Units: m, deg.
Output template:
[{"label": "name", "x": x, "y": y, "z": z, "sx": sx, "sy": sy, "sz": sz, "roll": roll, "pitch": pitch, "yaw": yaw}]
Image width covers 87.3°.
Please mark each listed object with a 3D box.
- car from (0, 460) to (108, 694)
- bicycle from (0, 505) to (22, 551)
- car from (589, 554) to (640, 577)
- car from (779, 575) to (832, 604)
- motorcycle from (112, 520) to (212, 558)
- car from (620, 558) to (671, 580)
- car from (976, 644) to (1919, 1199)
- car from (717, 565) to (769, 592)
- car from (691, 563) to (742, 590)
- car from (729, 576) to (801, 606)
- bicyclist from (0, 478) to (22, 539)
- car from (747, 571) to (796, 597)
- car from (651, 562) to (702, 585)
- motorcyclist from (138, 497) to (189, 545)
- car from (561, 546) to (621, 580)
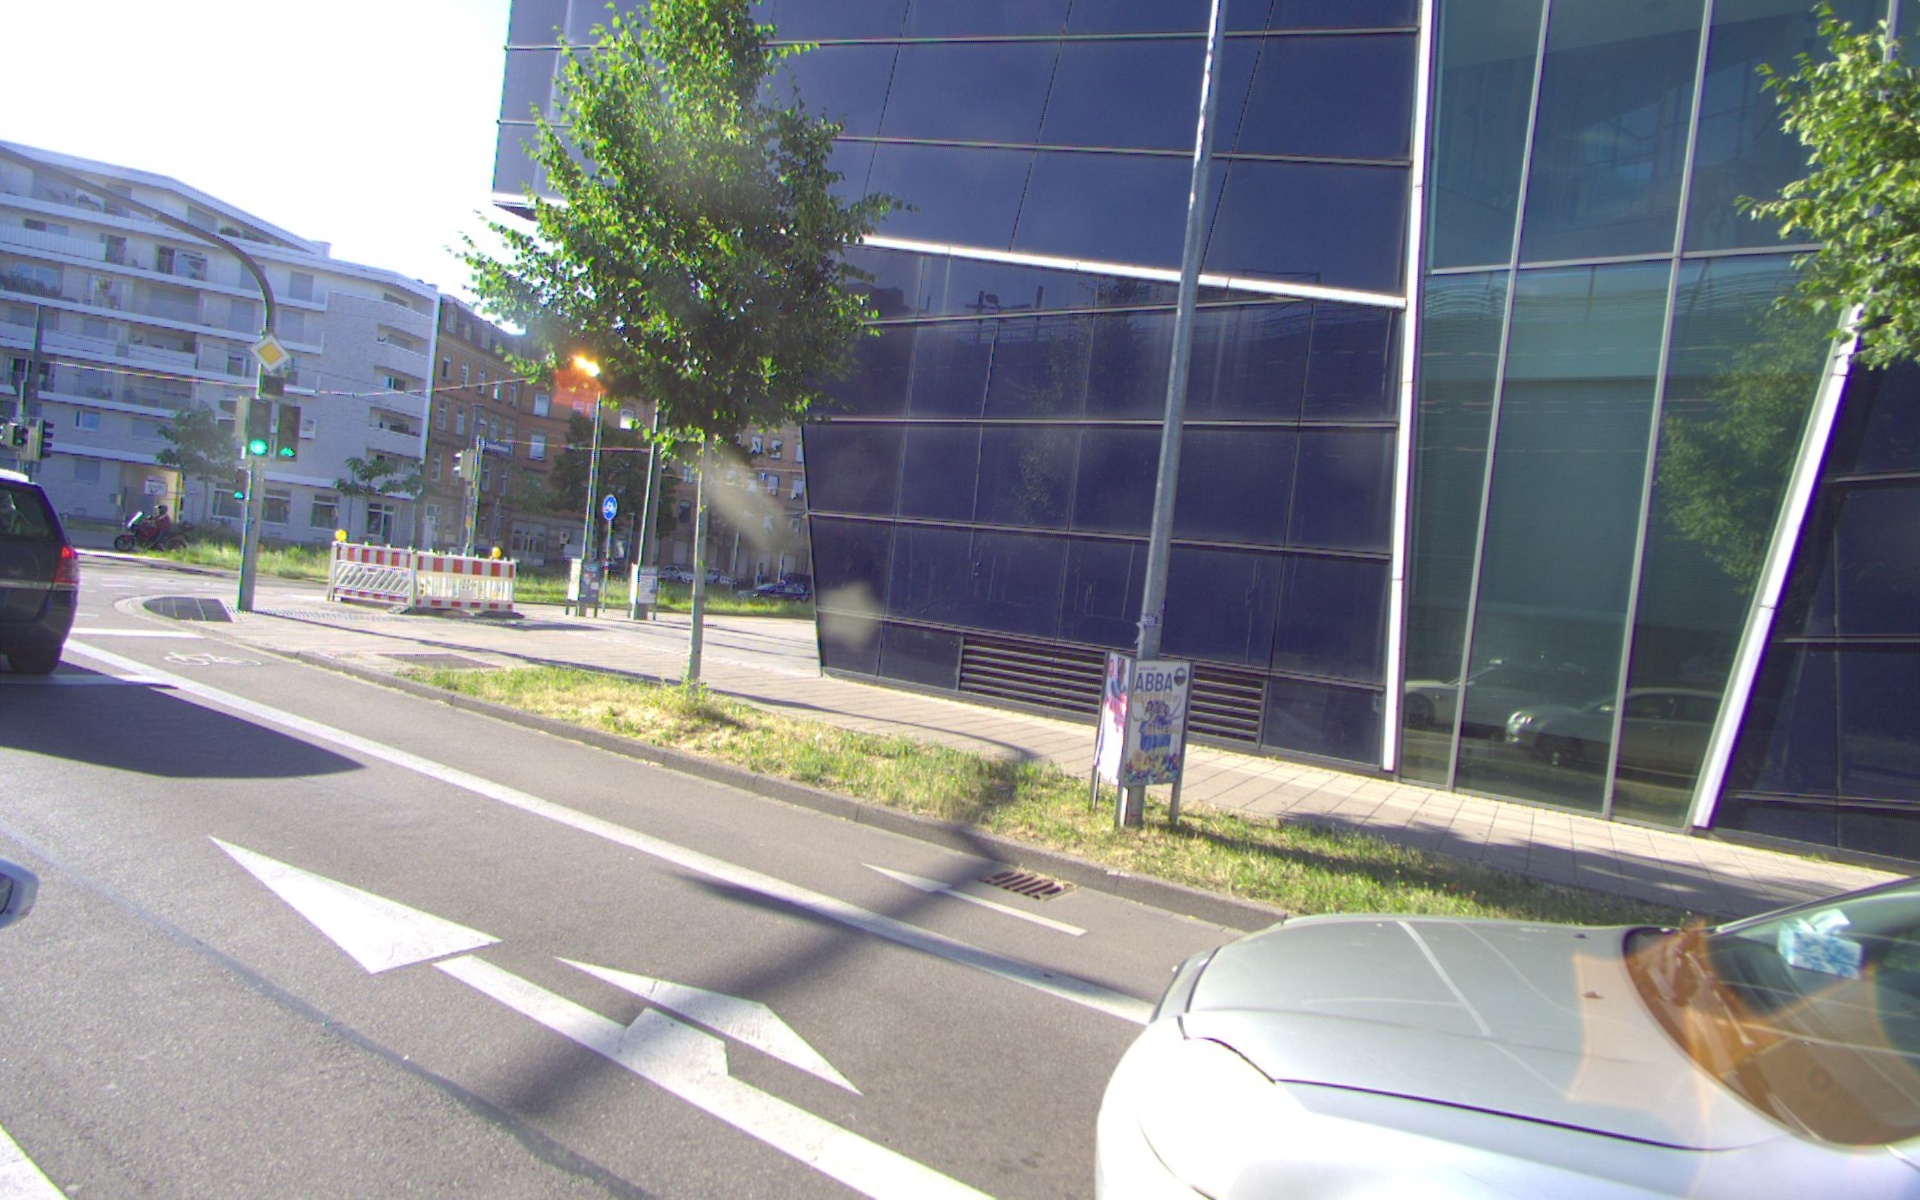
[{"label": "car", "x": -9.053, "y": -0.397, "z": 8.288, "sx": 4.190, "sy": 1.715, "sz": 1.749, "roll": 6, "pitch": -2, "yaw": 31}, {"label": "bicycle", "x": -28.743, "y": -2.205, "z": 29.496, "sx": 2.042, "sy": 1.278, "sz": 0.768, "roll": 7, "pitch": 1, "yaw": 14}, {"label": "car", "x": -26.643, "y": -2.676, "z": 77.502, "sx": 3.944, "sy": 1.371, "sz": 1.990, "roll": 6, "pitch": 1, "yaw": 41}, {"label": "car", "x": -14.357, "y": -0.987, "z": 93.483, "sx": 4.350, "sy": 2.218, "sz": 1.990, "roll": 5, "pitch": 1, "yaw": -22}, {"label": "motorcycle", "x": -28.020, "y": -2.125, "z": 35.390, "sx": 1.151, "sy": 1.013, "sz": 2.457, "roll": 7, "pitch": 0, "yaw": 27}, {"label": "car", "x": -24.691, "y": -2.436, "z": 78.933, "sx": 3.944, "sy": 1.371, "sz": 1.990, "roll": 6, "pitch": 1, "yaw": 41}, {"label": "car", "x": 2.425, "y": 1.095, "z": 1.329, "sx": 4.551, "sy": 1.500, "sz": 1.748, "roll": 6, "pitch": 0, "yaw": 31}, {"label": "car", "x": -18.002, "y": -1.774, "z": 83.497, "sx": 3.938, "sy": 1.794, "sz": 1.993, "roll": 6, "pitch": 1, "yaw": 35}, {"label": "car", "x": -19.749, "y": -1.945, "z": 81.554, "sx": 3.944, "sy": 1.794, "sz": 1.990, "roll": 6, "pitch": 1, "yaw": 41}, {"label": "car", "x": -11.293, "y": -0.484, "z": 58.586, "sx": 1.740, "sy": 1.417, "sz": 4.248, "roll": 3, "pitch": -2, "yaw": 29}, {"label": "bicyclist", "x": -28.249, "y": -2.716, "z": 29.384, "sx": 0.912, "sy": 1.728, "sz": 0.768, "roll": 6, "pitch": 1, "yaw": 14}, {"label": "car", "x": -16.333, "y": -1.384, "z": 87.032, "sx": 3.940, "sy": 1.794, "sz": 1.992, "roll": 6, "pitch": 1, "yaw": 37}, {"label": "car", "x": -22.611, "y": -2.120, "z": 80.177, "sx": 3.944, "sy": 1.505, "sz": 1.990, "roll": 6, "pitch": 1, "yaw": 41}, {"label": "motorcyclist", "x": -27.971, "y": -2.781, "z": 35.333, "sx": 1.151, "sy": 1.500, "sz": 0.926, "roll": 7, "pitch": 1, "yaw": 27}, {"label": "car", "x": -31.349, "y": -3.131, "z": 85.554, "sx": 4.537, "sy": 2.339, "sz": 1.991, "roll": 6, "pitch": 0, "yaw": -21}]
